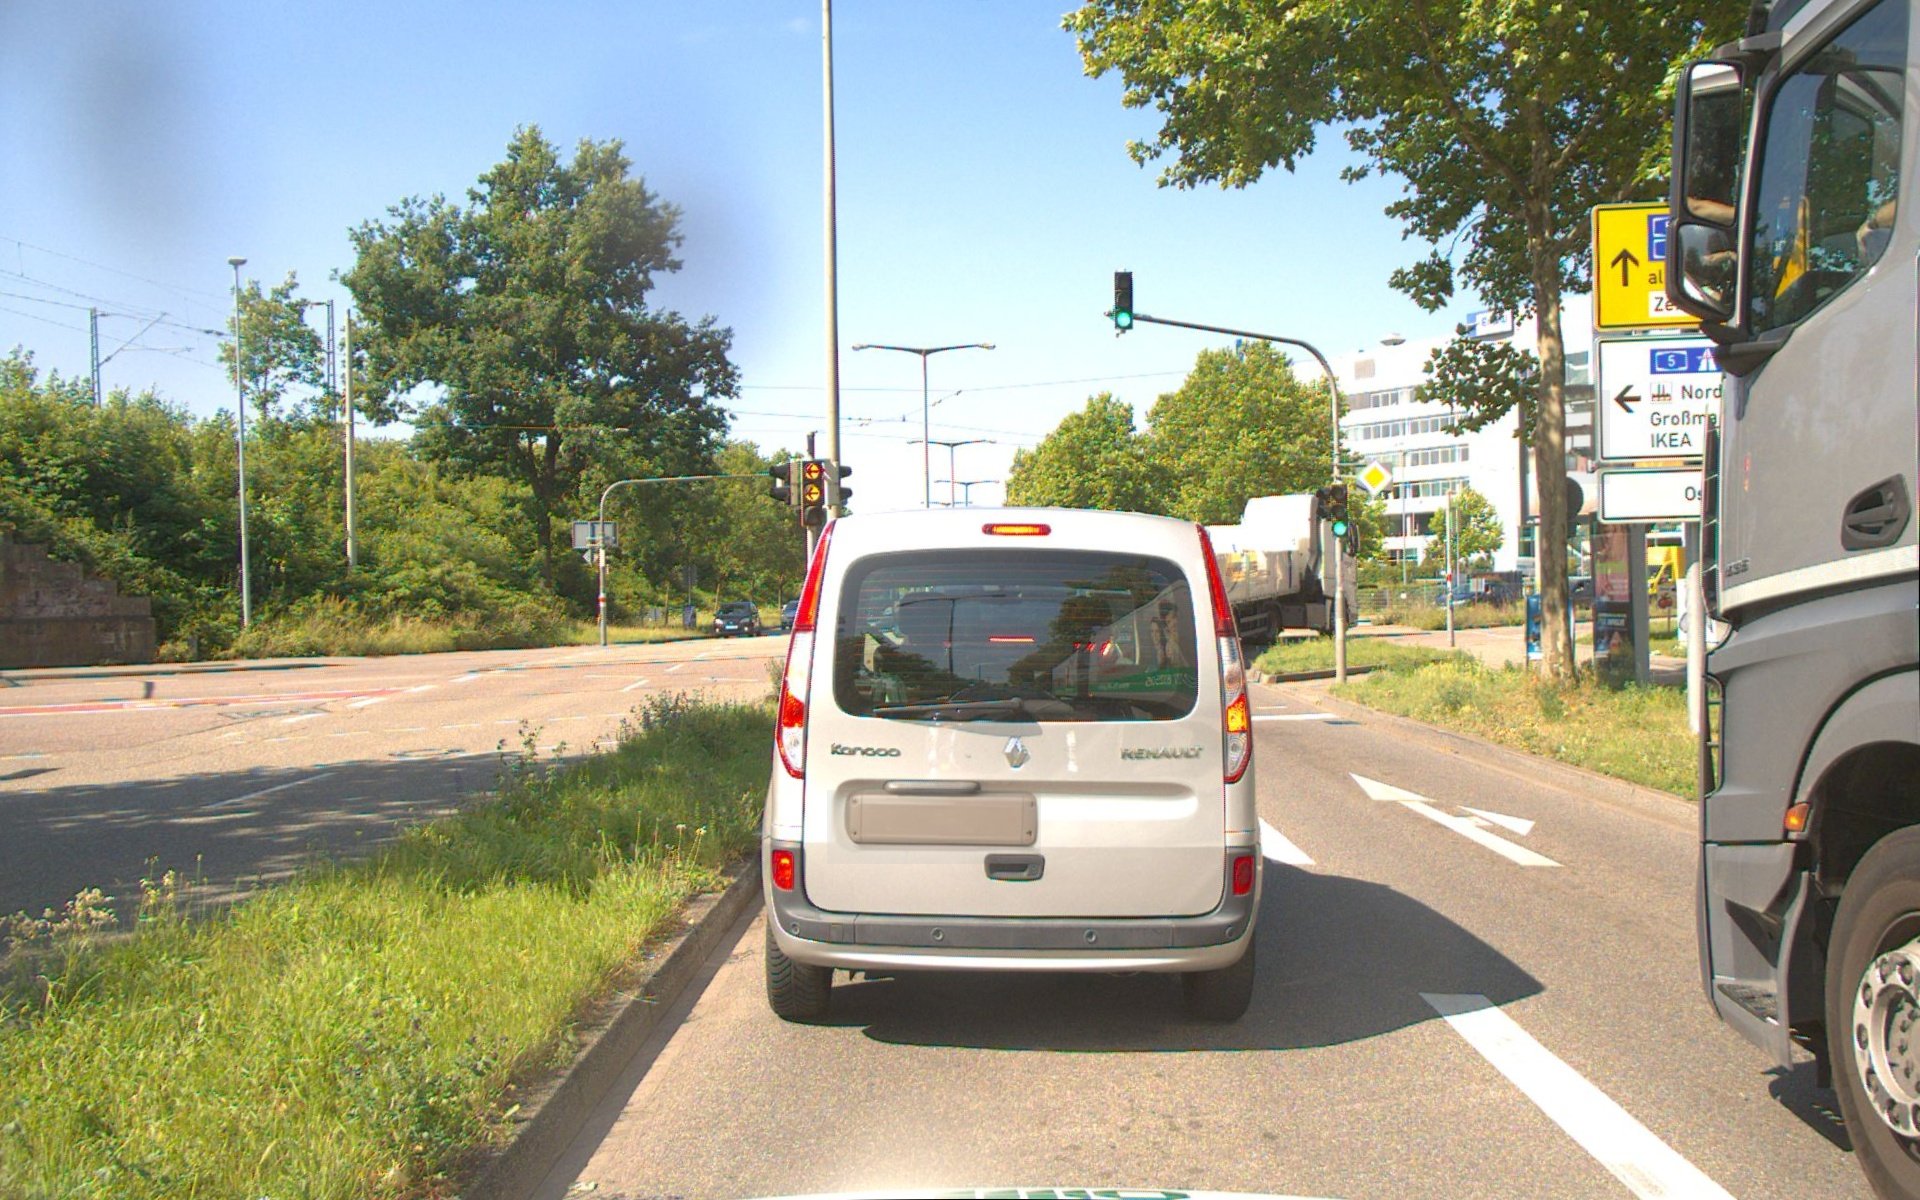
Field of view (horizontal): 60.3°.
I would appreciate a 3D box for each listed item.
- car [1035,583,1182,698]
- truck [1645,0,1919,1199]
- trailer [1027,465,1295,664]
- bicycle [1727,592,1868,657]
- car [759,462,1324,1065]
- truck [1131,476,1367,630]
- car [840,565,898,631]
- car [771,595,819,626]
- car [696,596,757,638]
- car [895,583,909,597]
[{"bbox_3d":[2.239,0.590,26.035,1.837,1.619,4.432,1,0,-1],"label":"car"},{"bbox_3d":[3.335,-0.570,0.715,2.673,3.958,8.724,0,0,2],"label":"truck"},{"bbox_3d":[4.935,-0.612,36.969,2.841,3.686,12.685,1,0,21],"label":"trailer"},{"bbox_3d":[13.756,0.405,27.207,1.959,1.031,0.621,-1,0,16],"label":"bicycle"},{"bbox_3d":[0.233,0.526,7.208,1.750,1.870,3.999,1,0,-1],"label":"car"},{"bbox_3d":[7.705,-1.094,43.359,2.867,3.707,7.149,1,0,41],"label":"truck"},{"bbox_3d":[-3.792,-0.064,69.613,1.952,2.653,5.135,-1,0,2],"label":"car"},{"bbox_3d":[-8.732,0.578,88.057,1.952,1.567,4.237,-1,0,2],"label":"car"},{"bbox_3d":[-9.673,0.693,68.804,1.872,1.670,3.738,-1,0,2],"label":"car"},{"bbox_3d":[-8.736,-1.546,249.864,1.849,2.049,4.001,1,0,1],"label":"car"}]
